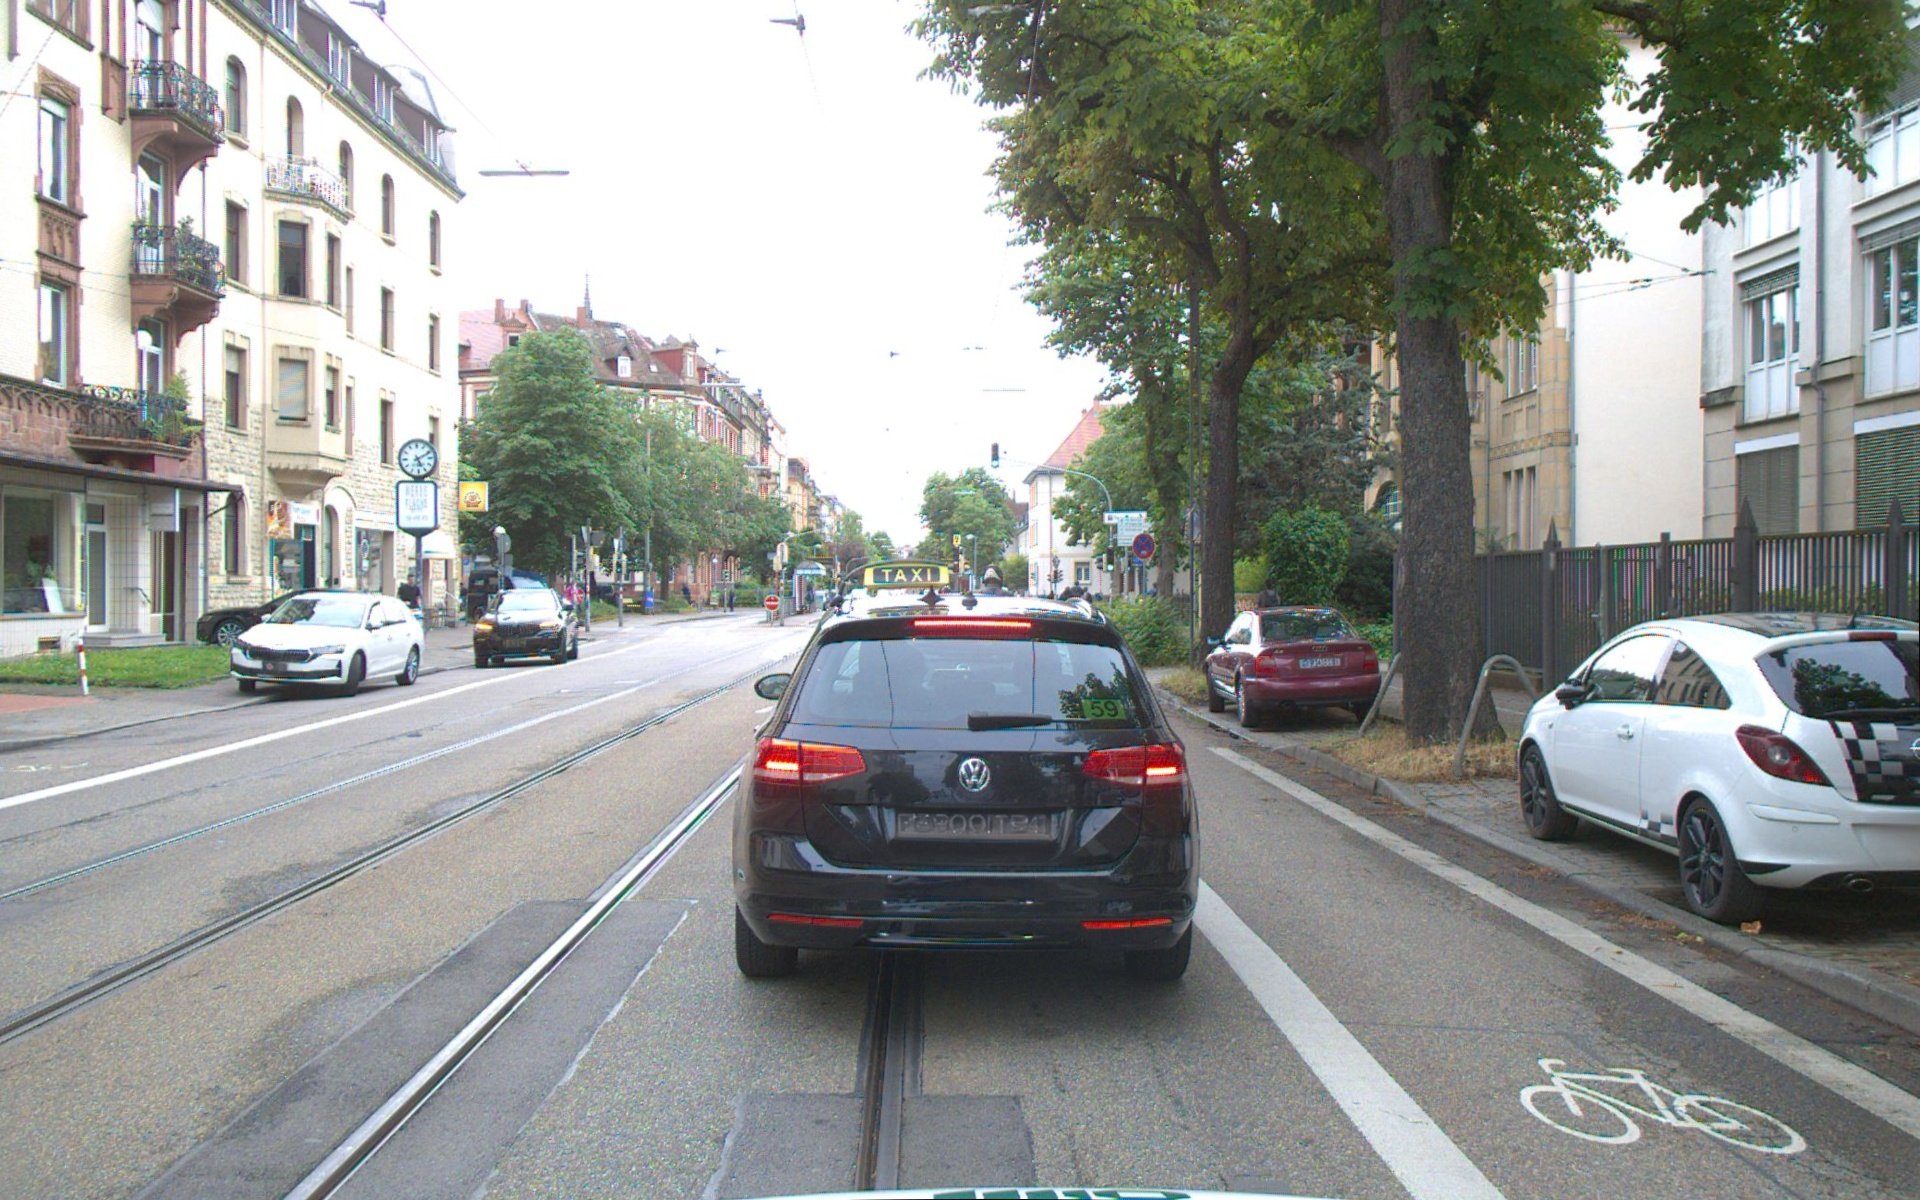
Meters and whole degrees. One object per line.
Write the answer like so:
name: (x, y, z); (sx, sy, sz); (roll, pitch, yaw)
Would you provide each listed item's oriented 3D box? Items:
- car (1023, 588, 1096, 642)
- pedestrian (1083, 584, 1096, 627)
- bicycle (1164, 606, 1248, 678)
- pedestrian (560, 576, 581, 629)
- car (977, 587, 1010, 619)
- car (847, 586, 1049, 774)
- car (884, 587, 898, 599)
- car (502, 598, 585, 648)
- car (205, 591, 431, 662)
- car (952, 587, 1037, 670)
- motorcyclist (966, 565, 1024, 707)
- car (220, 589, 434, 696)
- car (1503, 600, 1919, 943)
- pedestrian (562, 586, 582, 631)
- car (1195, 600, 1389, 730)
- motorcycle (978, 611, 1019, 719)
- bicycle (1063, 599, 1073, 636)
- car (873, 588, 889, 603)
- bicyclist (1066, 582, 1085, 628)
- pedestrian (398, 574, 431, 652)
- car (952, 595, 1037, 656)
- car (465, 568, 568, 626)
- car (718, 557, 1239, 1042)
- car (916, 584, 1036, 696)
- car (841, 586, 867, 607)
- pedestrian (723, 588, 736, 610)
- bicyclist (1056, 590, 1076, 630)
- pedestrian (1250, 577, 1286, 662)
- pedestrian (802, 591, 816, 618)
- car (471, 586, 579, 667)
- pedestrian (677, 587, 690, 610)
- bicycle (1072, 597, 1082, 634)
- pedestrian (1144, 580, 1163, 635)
car: (3.052, 0.460, 51.471); (1.953, 1.605, 3.999); (1, 0, -1)
pedestrian: (4.808, 0.206, 61.258); (0.441, 1.589, 0.479); (0, 0, 7)
bicycle: (4.297, 0.730, 28.748); (0.426, 1.219, 1.891); (0, -1, 44)
pedestrian: (-14.023, 0.082, 59.582); (0.610, 1.875, 0.609); (0, 0, -3)
car: (2.139, 0.185, 108.165); (1.991, 2.049, 3.999); (1, 0, -1)
car: (-0.129, 0.657, 15.875); (1.688, 1.573, 3.999); (0, 0, -1)
car: (-9.215, -0.938, 220.961); (1.686, 1.651, 3.862); (0, 0, -1)
car: (-12.595, 0.659, 50.213); (1.616, 1.385, 4.127); (2, 0, -3)
car: (-14.422, 0.587, 37.338); (4.340, 1.394, 1.878); (2, 0, -6)
car: (0.656, 0.555, 33.519); (1.574, 1.583, 3.577); (1, 0, -1)
motorcyclist: (0.427, 0.431, 20.543); (0.688, 1.722, 0.804); (0, 0, -1)
car: (-9.823, 0.591, 26.048); (1.712, 1.510, 4.607); (0, 0, -2)
car: (4.490, 0.771, 9.336); (1.569, 1.460, 3.776); (-2, 0, 0)
pedestrian: (-14.506, 0.317, 61.861); (0.577, 1.692, 0.838); (0, 0, -4)
car: (4.187, 0.760, 21.449); (1.569, 1.423, 4.226); (-2, 0, -1)
motorcycle: (0.468, 0.777, 20.544); (0.437, 1.257, 1.906); (0, 0, -1)
bicycle: (3.612, 0.572, 55.331); (0.247, 1.217, 1.158); (0, 0, 7)
car: (-8.926, -0.556, 187.584); (1.686, 1.651, 3.862); (0, 0, -1)
bicyclist: (4.080, 0.177, 58.251); (0.637, 1.596, 0.696); (0, 0, 6)
pedestrian: (-13.414, 0.312, 40.691); (0.656, 1.876, 0.880); (-1, 0, -11)
car: (0.921, 0.603, 41.689); (1.852, 1.432, 4.003); (-1, 0, 5)
car: (-19.501, -0.122, 72.646); (2.168, 2.459, 5.295); (0, 0, -43)
car: (0.036, 0.638, 7.387); (1.688, 1.573, 3.999); (0, 0, -1)
car: (0.194, 0.549, 25.315); (1.688, 1.573, 3.999); (0, 0, -1)
car: (-9.378, -0.264, 146.587); (1.952, 1.822, 4.000); (1, 0, 1)
pedestrian: (-15.826, -0.074, 113.648); (0.577, 1.547, 0.647); (0, 0, 34)
bicyclist: (3.552, 0.330, 55.388); (0.637, 1.324, 0.696); (0, 0, 7)
pedestrian: (6.749, 0.414, 36.293); (0.619, 1.846, 0.726); (0, 0, -3)
pedestrian: (-8.742, 0.259, 95.776); (0.699, 1.547, 0.590); (0, 0, 0)
car: (-9.847, 0.568, 37.758); (1.849, 1.639, 4.876); (-3, 0, -9)
pedestrian: (-18.341, -0.109, 109.824); (0.577, 1.547, 0.647); (0, 0, 34)
bicycle: (4.125, 0.538, 58.238); (0.291, 1.244, 1.431); (0, 0, 6)
pedestrian: (6.761, 0.256, 57.718); (0.503, 1.863, 0.418); (-3, 0, 15)
